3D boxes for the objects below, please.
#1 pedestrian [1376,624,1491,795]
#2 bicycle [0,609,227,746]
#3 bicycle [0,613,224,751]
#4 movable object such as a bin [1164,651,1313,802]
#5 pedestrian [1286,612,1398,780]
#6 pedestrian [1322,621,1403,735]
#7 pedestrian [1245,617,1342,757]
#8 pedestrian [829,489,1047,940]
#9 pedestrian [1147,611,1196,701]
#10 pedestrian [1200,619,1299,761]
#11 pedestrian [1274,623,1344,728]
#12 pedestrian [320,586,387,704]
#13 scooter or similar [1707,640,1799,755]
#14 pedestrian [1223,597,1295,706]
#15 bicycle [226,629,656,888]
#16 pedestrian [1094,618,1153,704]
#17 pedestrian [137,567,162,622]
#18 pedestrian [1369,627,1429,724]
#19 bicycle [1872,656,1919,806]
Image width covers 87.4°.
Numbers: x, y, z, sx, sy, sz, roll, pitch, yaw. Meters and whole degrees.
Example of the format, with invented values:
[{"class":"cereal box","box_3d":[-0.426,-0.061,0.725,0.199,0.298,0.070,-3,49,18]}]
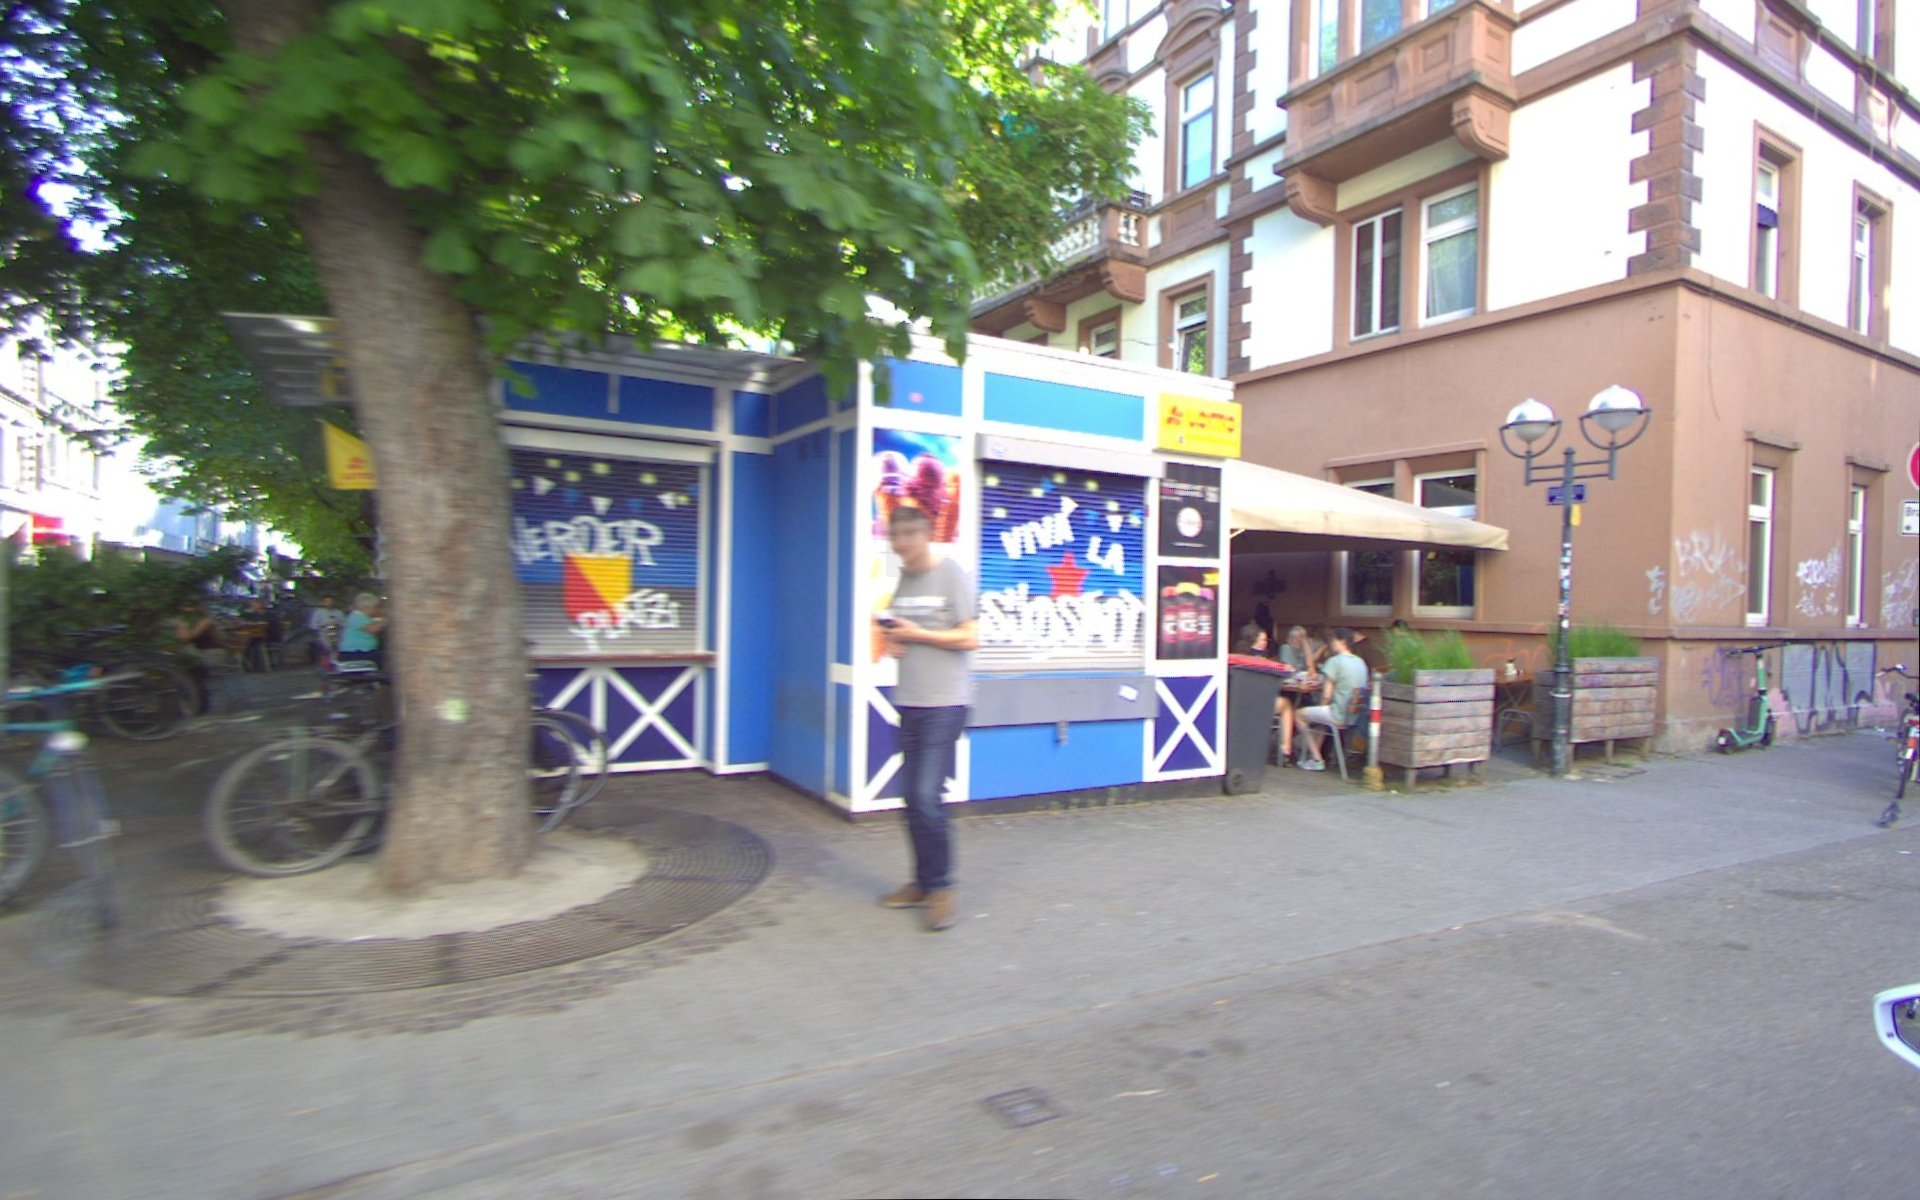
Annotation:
[{"class":"pedestrian","box_3d":[4.348,0.976,9.239,0.610,1.464,0.702,2,0,-32]},{"class":"bicycle","box_3d":[-7.640,0.659,8.814,1.915,1.106,0.227,-1,2,-32]},{"class":"bicycle","box_3d":[-7.502,0.679,8.595,1.915,1.106,0.227,0,2,-32]},{"class":"movable object such as a bin","box_3d":[2.280,1.003,8.266,0.765,1.101,0.865,2,0,-30]},{"class":"pedestrian","box_3d":[3.540,0.863,9.335,0.610,1.464,0.702,2,0,-32]},{"class":"pedestrian","box_3d":[5.101,0.967,12.746,0.684,1.379,0.674,0,0,-31]},{"class":"pedestrian","box_3d":[3.512,0.891,10.605,0.610,1.394,0.702,2,0,-32]},{"class":"pedestrian","box_3d":[-0.113,0.472,4.579,0.690,1.858,0.643,2,2,-31]},{"class":"pedestrian","box_3d":[3.348,0.870,15.889,0.614,1.380,0.469,0,0,-31]},{"class":"pedestrian","box_3d":[2.947,0.892,10.238,0.610,1.348,0.702,2,0,-32]},{"class":"pedestrian","box_3d":[4.775,1.008,13.765,0.684,1.379,0.614,0,0,-31]},{"class":"pedestrian","box_3d":[-7.113,0.518,11.788,0.627,1.338,0.565,2,0,-32]},{"class":"scooter or similar","box_3d":[9.054,1.088,11.455,1.376,1.233,0.345,2,0,-32]},{"class":"pedestrian","box_3d":[4.465,0.753,15.003,0.741,1.583,0.674,1,0,-31]},{"class":"bicycle","box_3d":[-2.722,0.749,5.483,2.024,1.146,0.492,1,1,-45]},{"class":"pedestrian","box_3d":[2.765,1.006,17.009,0.741,1.410,0.674,0,0,-31]},{"class":"pedestrian","box_3d":[-35.252,-0.227,43.678,0.723,2.348,0.757,2,1,-34]},{"class":"pedestrian","box_3d":[5.730,0.982,13.114,0.416,1.202,0.440,4,3,-31]},{"class":"bicycle","box_3d":[8.889,1.171,9.324,0.544,1.233,1.978,2,0,41]}]
